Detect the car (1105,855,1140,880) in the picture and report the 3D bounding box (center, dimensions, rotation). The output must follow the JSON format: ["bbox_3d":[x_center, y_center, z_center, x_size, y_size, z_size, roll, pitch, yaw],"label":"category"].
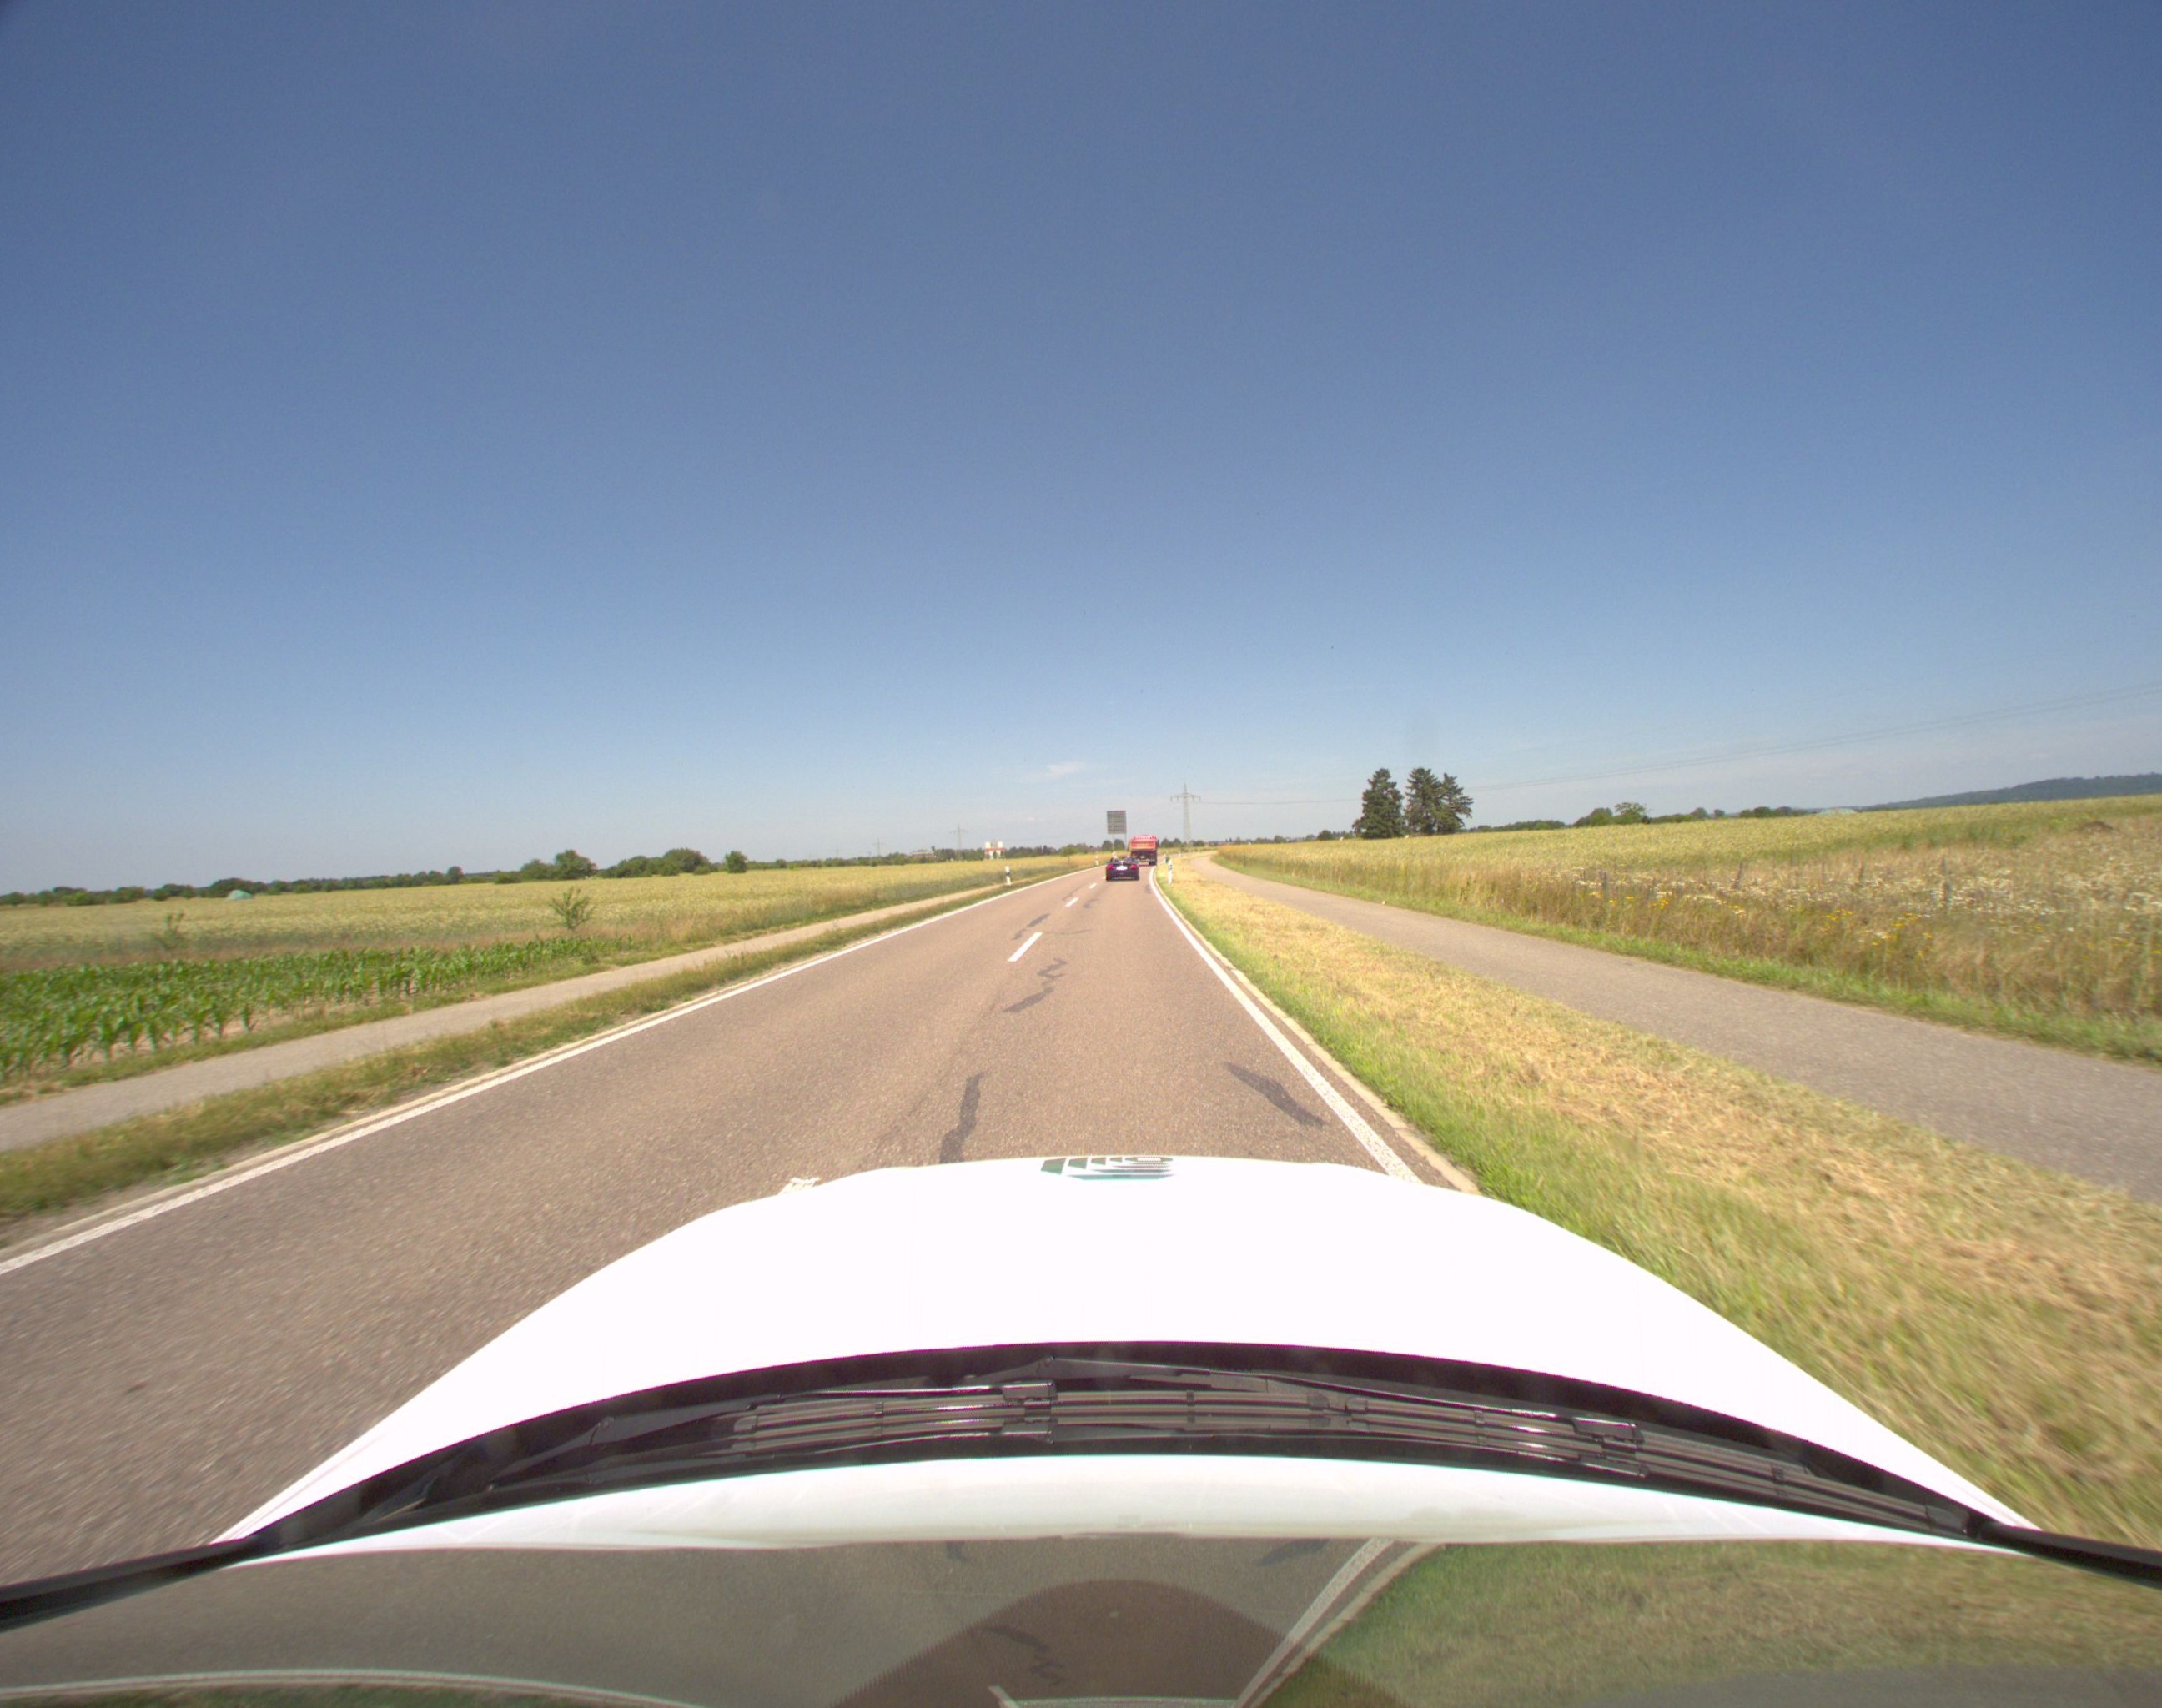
[{"bbox_3d":[2.269,0.712,43.949,1.736,1.280,4.005,-1,-1,5],"label":"car"}]

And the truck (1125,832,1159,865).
[{"bbox_3d":[6.219,-0.464,82.298,2.922,3.089,7.210,-2,-1,7],"label":"truck"}]
